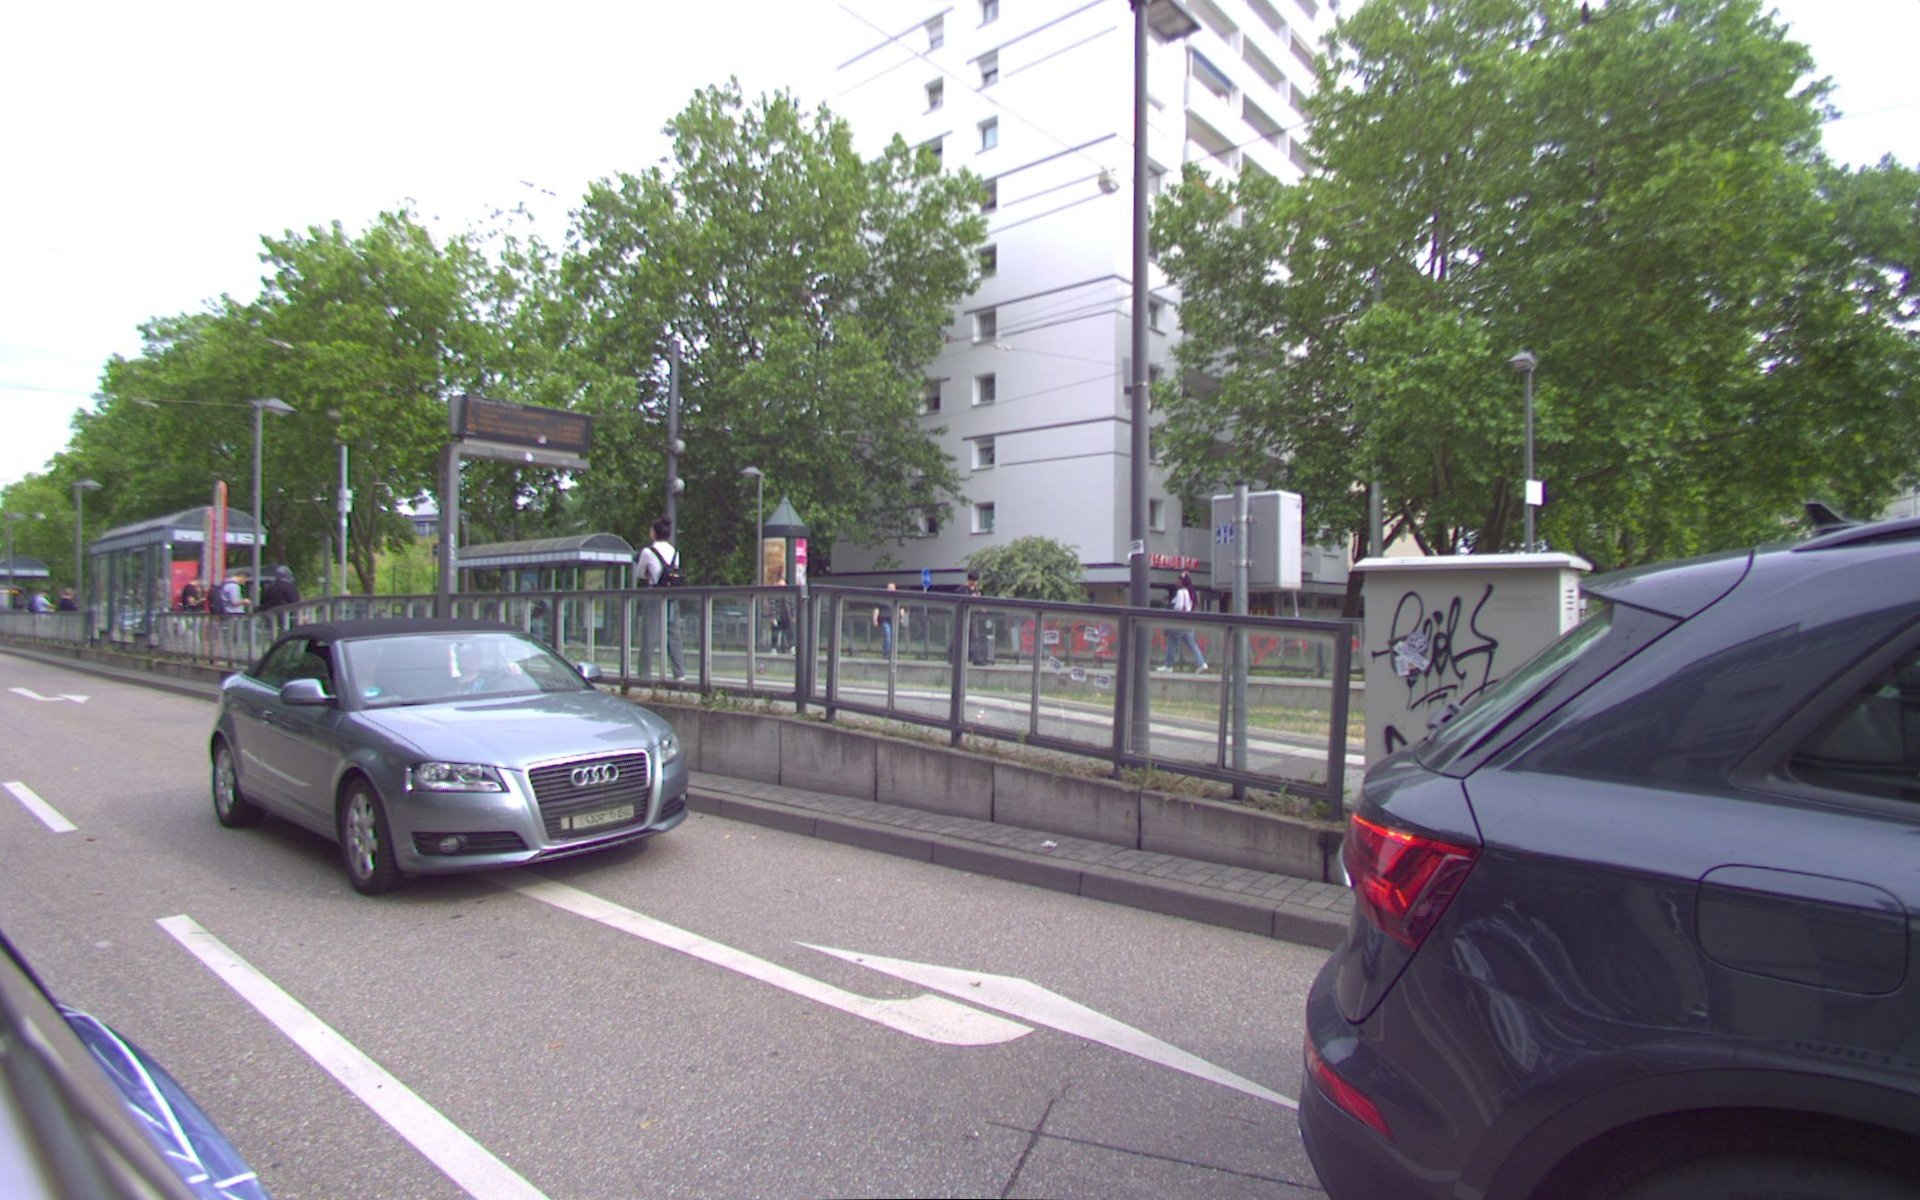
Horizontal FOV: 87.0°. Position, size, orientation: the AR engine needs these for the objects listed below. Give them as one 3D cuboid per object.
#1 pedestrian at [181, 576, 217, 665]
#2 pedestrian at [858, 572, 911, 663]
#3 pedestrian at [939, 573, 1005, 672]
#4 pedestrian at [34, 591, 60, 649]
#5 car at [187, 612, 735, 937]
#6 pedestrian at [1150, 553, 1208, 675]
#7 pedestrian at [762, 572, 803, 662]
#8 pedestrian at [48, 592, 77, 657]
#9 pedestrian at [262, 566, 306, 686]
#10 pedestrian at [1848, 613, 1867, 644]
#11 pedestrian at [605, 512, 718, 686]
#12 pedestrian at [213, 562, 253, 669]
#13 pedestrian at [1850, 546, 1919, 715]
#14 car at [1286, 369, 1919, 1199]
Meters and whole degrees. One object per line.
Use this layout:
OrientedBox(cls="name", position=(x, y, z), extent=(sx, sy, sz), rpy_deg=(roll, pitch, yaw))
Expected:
OrientedBox(cls="pedestrian", position=(-15.910, 0.421, 21.158), extent=(0.467, 1.818, 0.607), rpy_deg=(-1, 0, -24))
OrientedBox(cls="pedestrian", position=(-1.570, 0.354, 21.089), extent=(0.666, 1.848, 0.871), rpy_deg=(-1, 0, 41))
OrientedBox(cls="pedestrian", position=(0.220, 0.407, 18.641), extent=(0.850, 1.769, 0.871), rpy_deg=(-1, 0, 41))
OrientedBox(cls="pedestrian", position=(-29.022, 0.627, 32.180), extent=(0.523, 1.818, 0.607), rpy_deg=(-1, 0, -35))
OrientedBox(cls="car", position=(-3.372, 0.794, 6.443), extent=(4.097, 1.398, 1.694), rpy_deg=(-1, 0, 41))
OrientedBox(cls="pedestrian", position=(3.660, 0.225, 16.896), extent=(0.666, 1.965, 0.728), rpy_deg=(-1, 0, 41))
OrientedBox(cls="pedestrian", position=(-3.923, 0.364, 22.361), extent=(0.553, 1.945, 0.690), rpy_deg=(-1, 0, 41))
OrientedBox(cls="pedestrian", position=(-25.553, 0.696, 28.818), extent=(0.523, 1.818, 0.607), rpy_deg=(-1, 0, -35))
OrientedBox(cls="pedestrian", position=(-10.514, 0.390, 15.738), extent=(0.513, 1.818, 0.606), rpy_deg=(-1, 0, -37))
OrientedBox(cls="pedestrian", position=(59.177, 1.851, 66.718), extent=(0.667, 2.029, 0.669), rpy_deg=(-1, 0, 6))
OrientedBox(cls="pedestrian", position=(-3.068, -0.011, 10.384), extent=(0.979, 1.683, 0.711), rpy_deg=(-1, 0, 44))
OrientedBox(cls="pedestrian", position=(-12.690, 0.268, 17.665), extent=(0.605, 1.818, 0.469), rpy_deg=(-1, 0, 45))
OrientedBox(cls="pedestrian", position=(10.101, 0.314, 10.954), extent=(0.666, 1.763, 0.728), rpy_deg=(-1, 0, 41))
OrientedBox(cls="car", position=(2.705, 0.530, 0.968), extent=(4.225, 1.649, 1.715), rpy_deg=(-1, 0, 41))
